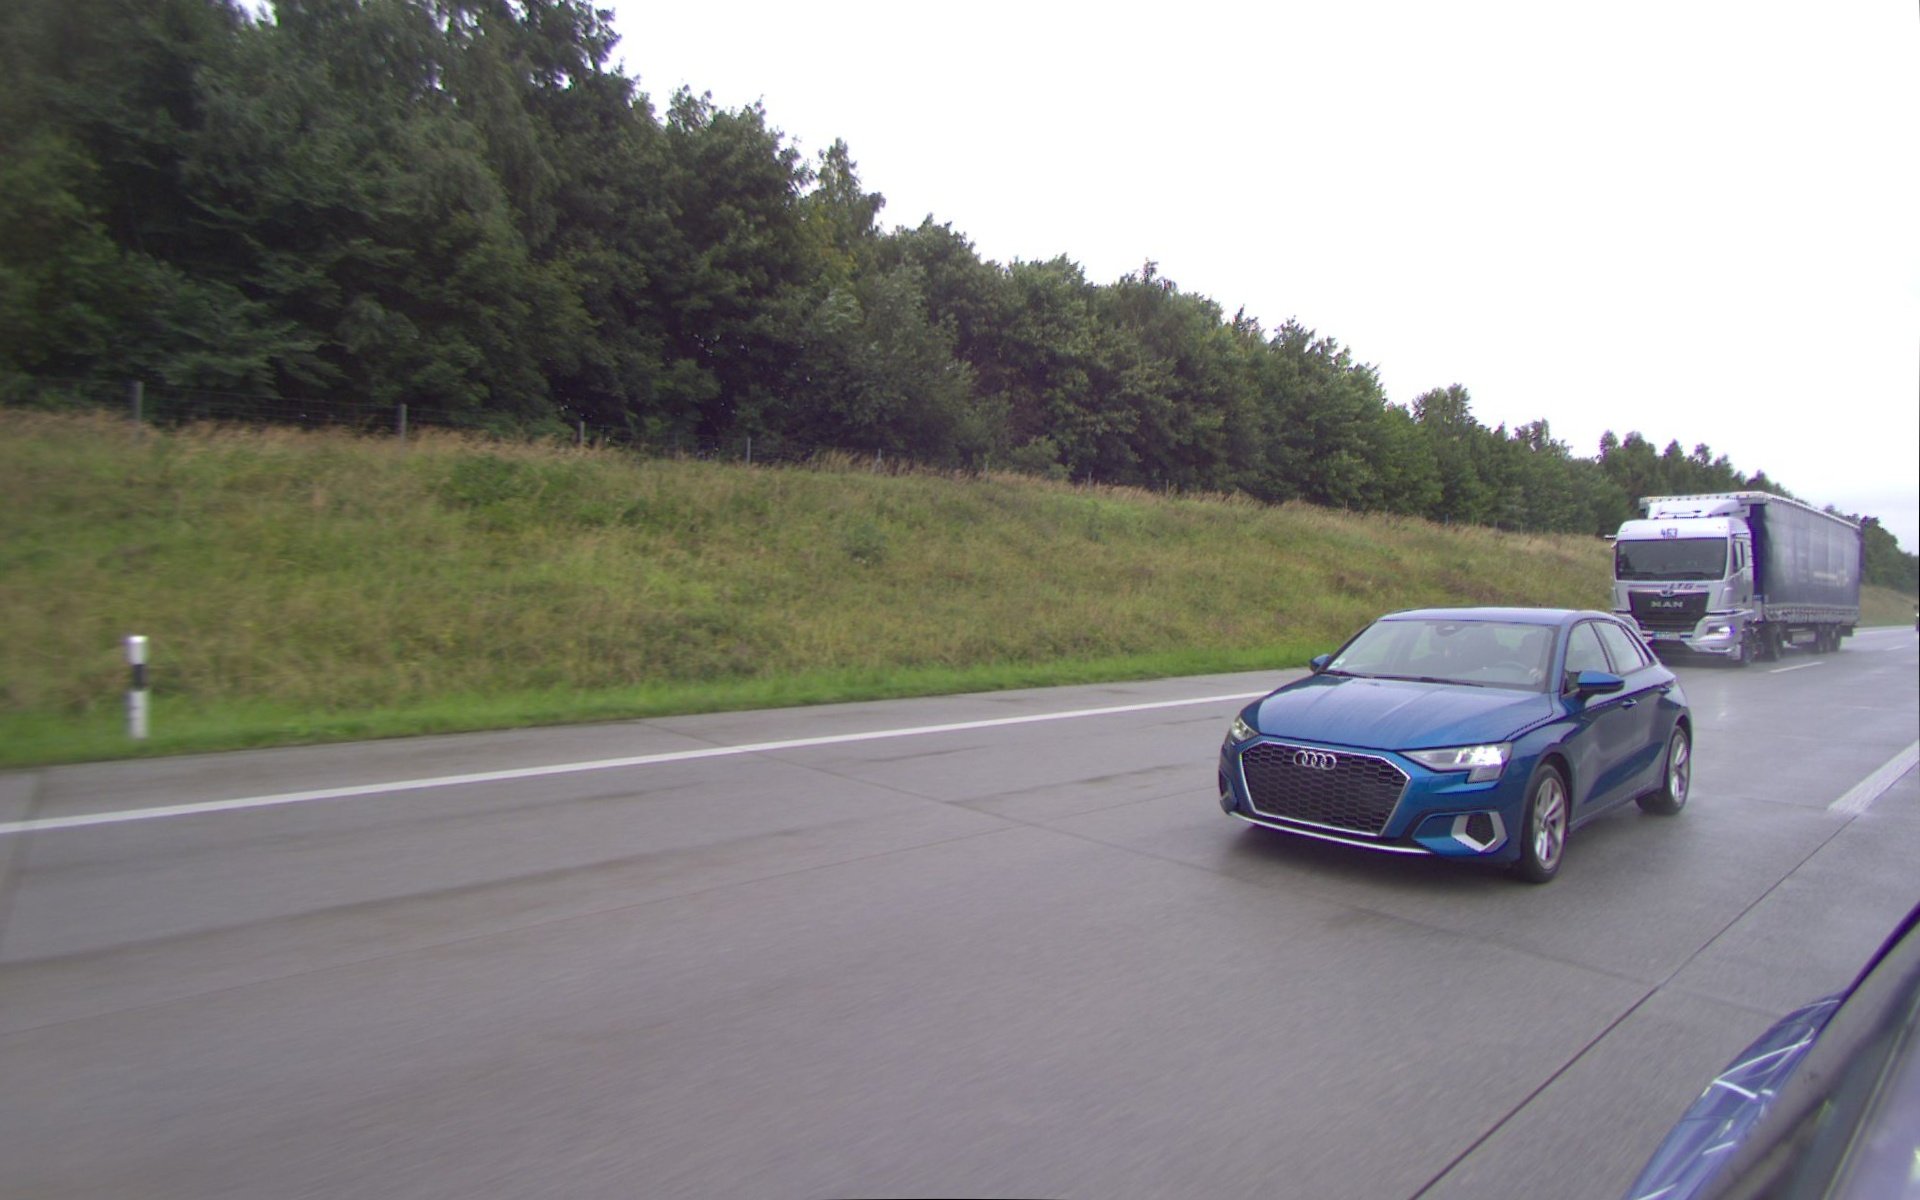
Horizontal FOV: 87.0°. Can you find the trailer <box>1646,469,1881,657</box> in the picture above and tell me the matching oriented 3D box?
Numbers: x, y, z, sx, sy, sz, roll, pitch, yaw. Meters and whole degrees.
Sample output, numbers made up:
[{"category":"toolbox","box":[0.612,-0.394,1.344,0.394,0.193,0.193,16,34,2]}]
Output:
[{"category":"trailer","box":[24.160,-0.833,29.859,14.937,4.435,2.711,0,-1,-41]}]

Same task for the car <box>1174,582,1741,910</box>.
[{"category":"car","box":[3.559,0.632,6.769,4.590,1.477,1.733,-1,2,-41]}]

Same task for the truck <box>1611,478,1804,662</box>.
[{"category":"truck","box":[18.439,-0.636,24.875,5.586,4.004,2.641,1,-1,-41]}]
